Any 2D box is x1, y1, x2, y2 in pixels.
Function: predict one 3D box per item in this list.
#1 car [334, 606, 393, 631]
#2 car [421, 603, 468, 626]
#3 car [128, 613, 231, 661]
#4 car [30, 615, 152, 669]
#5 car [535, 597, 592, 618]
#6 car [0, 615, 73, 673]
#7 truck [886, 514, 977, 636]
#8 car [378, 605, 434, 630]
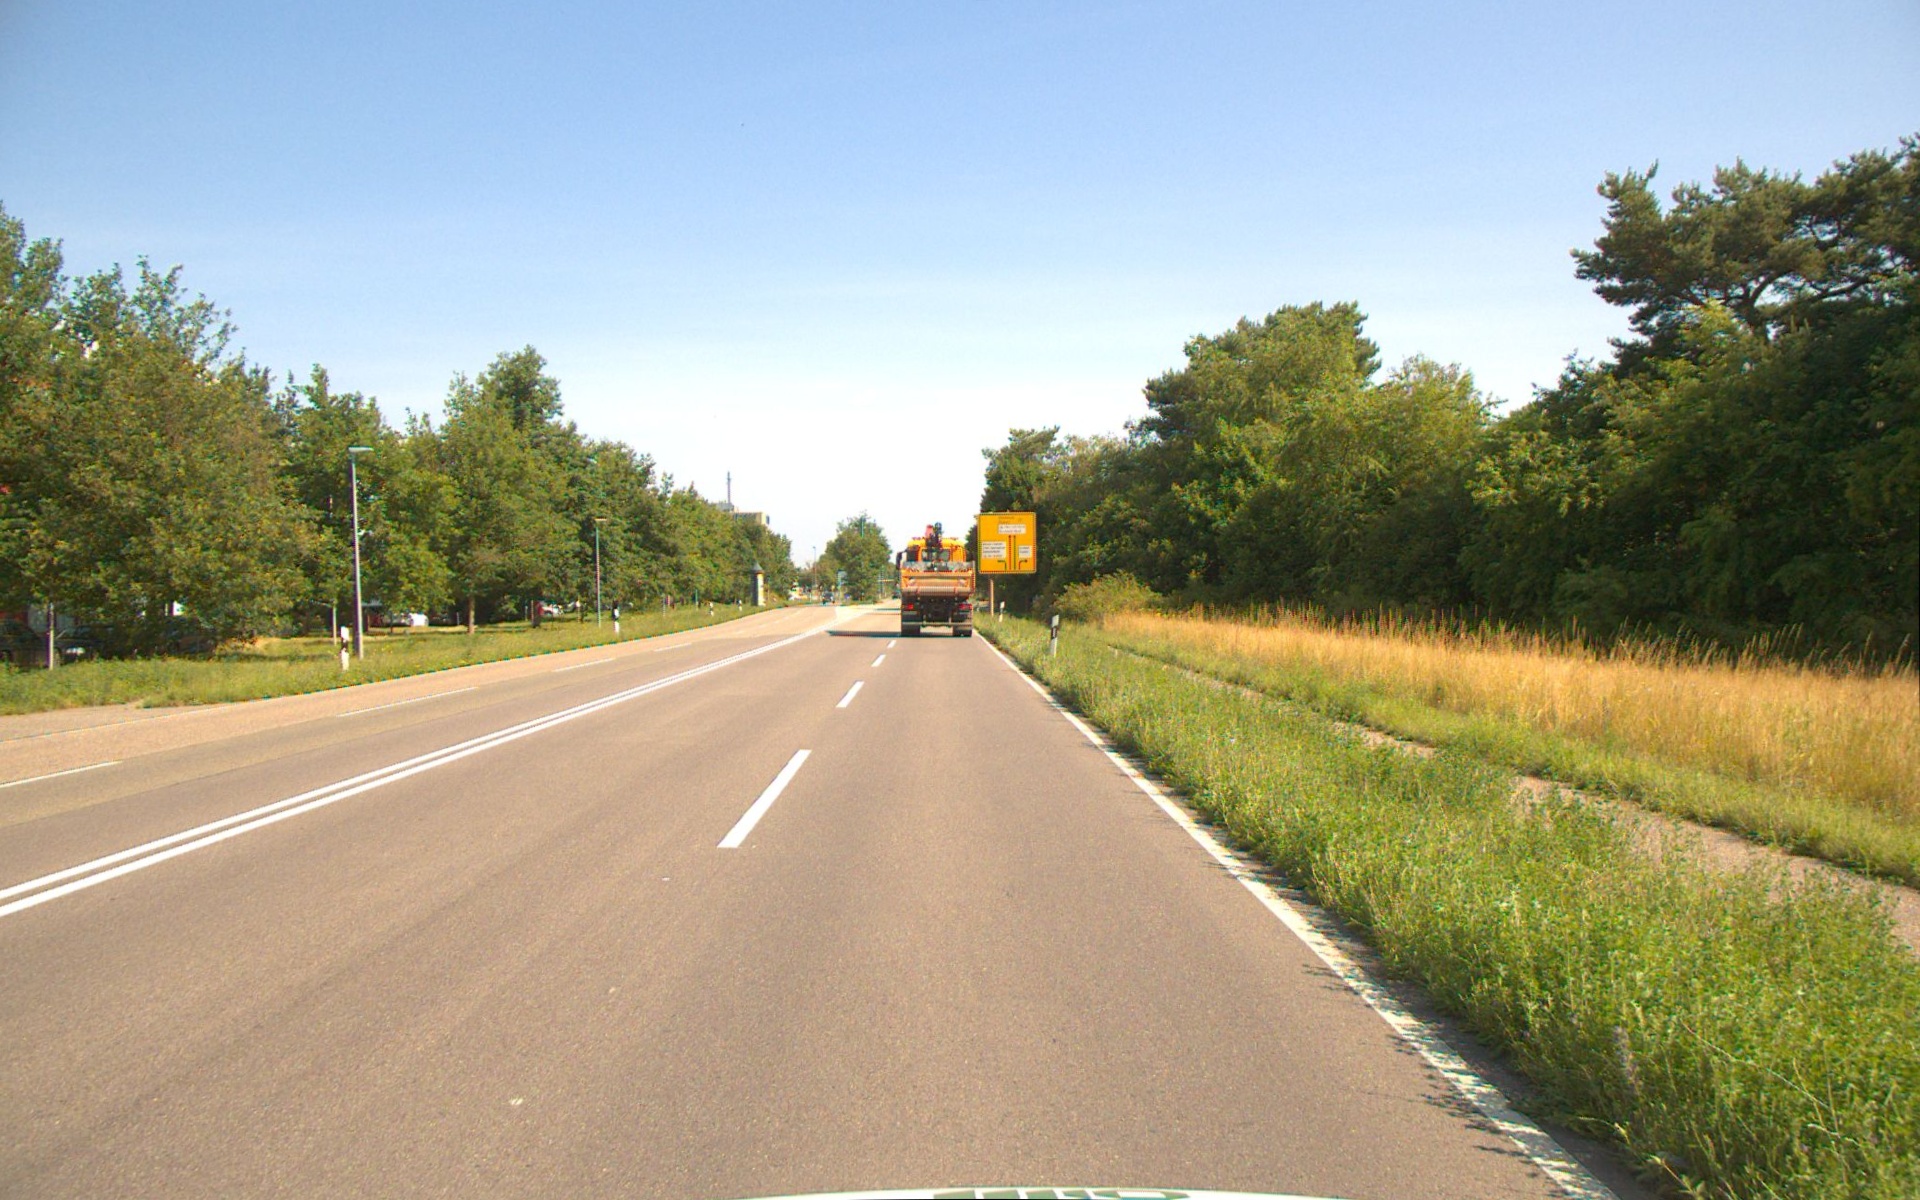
[{"bbox_3d":[-38.619,1.182,107.140,1.952,1.462,4.955,-1,0,0],"label":"car"},{"bbox_3d":[-36.658,1.021,117.749,1.953,1.462,4.609,-1,0,-1],"label":"car"},{"bbox_3d":[-28.892,1.323,61.351,1.708,1.606,4.547,-1,0,-1],"label":"car"},{"bbox_3d":[-28.818,1.372,55.022,1.708,1.606,4.547,-1,0,-1],"label":"car"},{"bbox_3d":[-34.471,0.656,143.949,4.502,1.679,1.999,-1,0,-2],"label":"car"},{"bbox_3d":[-28.637,1.314,49.568,1.708,1.606,4.547,-1,0,-1],"label":"car"},{"bbox_3d":[-1.092,-0.839,57.986,2.815,3.948,7.395,1,0,-3],"label":"truck"},{"bbox_3d":[-36.080,1.117,107.799,1.952,1.462,4.955,-1,0,0],"label":"car"}]
